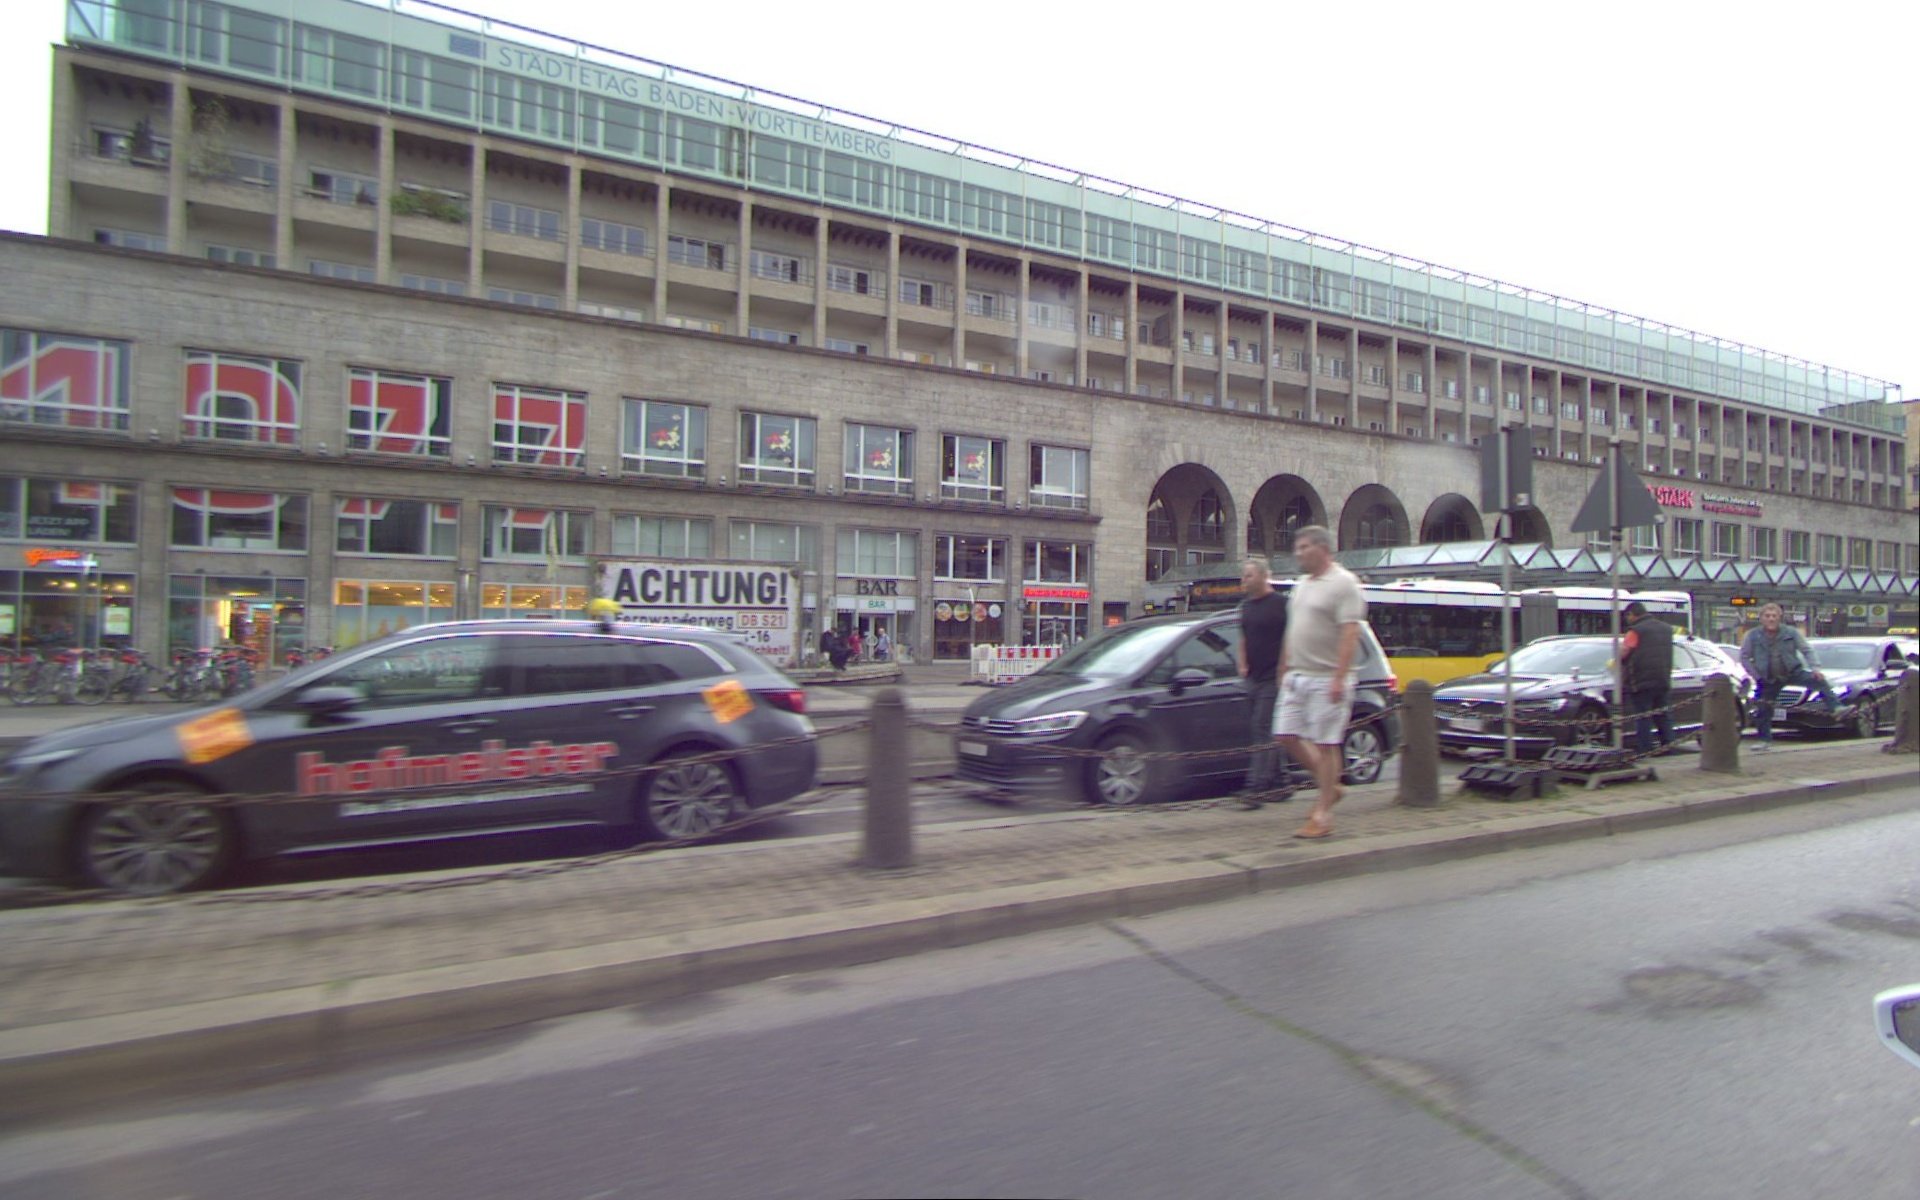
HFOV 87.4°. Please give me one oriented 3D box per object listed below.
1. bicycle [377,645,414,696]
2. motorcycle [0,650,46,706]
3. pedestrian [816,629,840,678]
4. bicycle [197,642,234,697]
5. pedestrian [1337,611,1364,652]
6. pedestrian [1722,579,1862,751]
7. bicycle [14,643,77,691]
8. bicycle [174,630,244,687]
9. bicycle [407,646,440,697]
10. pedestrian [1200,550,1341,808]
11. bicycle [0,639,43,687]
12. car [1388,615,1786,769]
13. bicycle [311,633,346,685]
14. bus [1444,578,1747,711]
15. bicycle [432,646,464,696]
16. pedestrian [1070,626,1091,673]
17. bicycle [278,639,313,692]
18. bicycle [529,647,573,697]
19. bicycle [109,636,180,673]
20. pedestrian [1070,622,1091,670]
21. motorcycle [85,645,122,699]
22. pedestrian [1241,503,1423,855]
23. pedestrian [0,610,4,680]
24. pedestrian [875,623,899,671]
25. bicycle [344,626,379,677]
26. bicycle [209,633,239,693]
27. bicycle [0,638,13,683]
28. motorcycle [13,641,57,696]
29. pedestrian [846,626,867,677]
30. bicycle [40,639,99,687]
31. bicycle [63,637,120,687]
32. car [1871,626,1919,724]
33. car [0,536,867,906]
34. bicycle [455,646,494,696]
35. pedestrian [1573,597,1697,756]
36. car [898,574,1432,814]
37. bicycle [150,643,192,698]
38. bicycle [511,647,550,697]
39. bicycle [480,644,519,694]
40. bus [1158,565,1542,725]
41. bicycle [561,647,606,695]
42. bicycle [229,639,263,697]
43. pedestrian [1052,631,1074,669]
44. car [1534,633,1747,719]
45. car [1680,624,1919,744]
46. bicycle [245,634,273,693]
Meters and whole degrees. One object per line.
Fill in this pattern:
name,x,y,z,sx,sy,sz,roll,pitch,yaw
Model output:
bicycle,-15.859,1.970,28.204,0.673,1.343,1.693,2,-1,-36
motorcycle,-20.013,1.645,21.444,0.597,1.072,1.427,1,0,-38
pedestrian,-4.314,1.739,32.837,0.632,1.587,0.491,2,-1,-27
bicycle,-17.126,1.572,23.124,0.590,1.091,2.075,1,0,-34
pedestrian,15.321,1.235,39.447,0.747,1.588,0.628,1,0,-26
pedestrian,9.154,0.692,11.079,0.609,1.792,1.046,2,-2,-28
bicycle,-22.487,1.626,24.727,0.437,1.071,1.614,1,0,-15
bicycle,-20.581,1.582,27.533,1.741,1.453,0.680,1,0,20
bicycle,-15.245,2.007,28.534,0.575,1.343,1.693,2,-1,-36
pedestrian,2.275,0.554,7.395,0.702,1.778,0.696,1,-1,-28
bicycle,-23.030,1.517,24.302,0.489,1.071,1.615,1,0,-12
car,7.907,1.079,12.548,5.196,1.597,1.922,2,-3,-29
bicycle,-17.193,1.594,27.324,0.673,1.343,1.655,2,-1,-36
bus,19.227,1.322,30.103,10.440,3.505,2.867,2,-1,-28
bicycle,-14.522,1.995,28.478,0.566,1.343,1.550,2,-1,-36
pedestrian,5.214,2.148,43.592,0.700,2.040,0.573,2,-2,-29
bicycle,-17.846,1.742,26.960,0.673,1.343,1.655,2,-1,-36
bicycle,-12.076,2.096,29.603,0.673,1.343,2.191,2,-1,-36
bicycle,-20.593,1.362,25.388,1.370,0.862,0.672,1,0,-40
pedestrian,5.226,1.995,43.463,0.700,2.040,0.573,2,-2,-29
motorcycle,-19.011,1.577,22.318,0.578,1.072,1.693,1,0,-39
pedestrian,2.325,0.465,6.320,0.763,2.034,0.720,1,0,-28
pedestrian,-28.358,1.306,29.074,0.813,2.040,0.870,2,-1,-34
pedestrian,-2.660,1.698,36.473,0.685,1.739,0.465,2,-2,-35
bicycle,-16.555,1.400,27.770,0.673,1.343,1.716,2,-1,-36
bicycle,-19.108,1.609,26.056,0.562,1.453,1.472,1,0,-38
bicycle,-23.508,1.478,24.036,0.417,1.071,1.615,1,0,-11
motorcycle,-19.960,1.459,21.701,0.578,1.072,1.693,1,0,-39
pedestrian,-3.548,1.752,34.300,0.548,1.739,0.489,2,-1,-25
bicycle,-22.022,1.544,24.858,0.449,1.071,1.613,1,0,-17
bicycle,-21.611,1.525,25.026,0.426,1.125,1.604,1,0,-16
car,19.005,1.366,18.311,5.129,1.681,1.968,2,-3,-29
car,-3.110,0.666,6.494,4.624,1.712,1.922,2,-3,-29
bicycle,-14.042,2.020,29.037,0.673,1.343,1.914,2,-1,-36
pedestrian,7.314,0.795,10.887,0.983,1.628,0.720,1,0,-28
car,1.930,0.784,9.134,4.624,1.712,1.922,2,-3,-29
bicycle,-17.789,1.563,22.668,0.590,1.070,2.075,1,0,-34
bicycle,-12.542,2.085,29.288,0.556,1.343,2.191,2,-1,-36
bicycle,-13.492,1.999,29.418,0.587,1.343,2.191,2,-1,-36
bus,10.022,1.109,25.241,10.440,3.421,2.867,2,-1,-28
bicycle,-11.325,2.114,30.189,0.673,1.343,2.191,2,-1,-36
bicycle,-16.656,1.556,23.466,0.590,1.196,2.075,1,0,-34
pedestrian,4.339,2.108,42.396,0.700,1.622,0.573,2,-2,-29
car,14.841,1.619,21.874,4.624,1.712,1.922,2,-3,-29
car,13.493,1.244,15.497,4.951,1.597,1.922,2,-3,-29
bicycle,-18.471,1.660,26.466,0.510,1.453,1.472,1,0,-38
